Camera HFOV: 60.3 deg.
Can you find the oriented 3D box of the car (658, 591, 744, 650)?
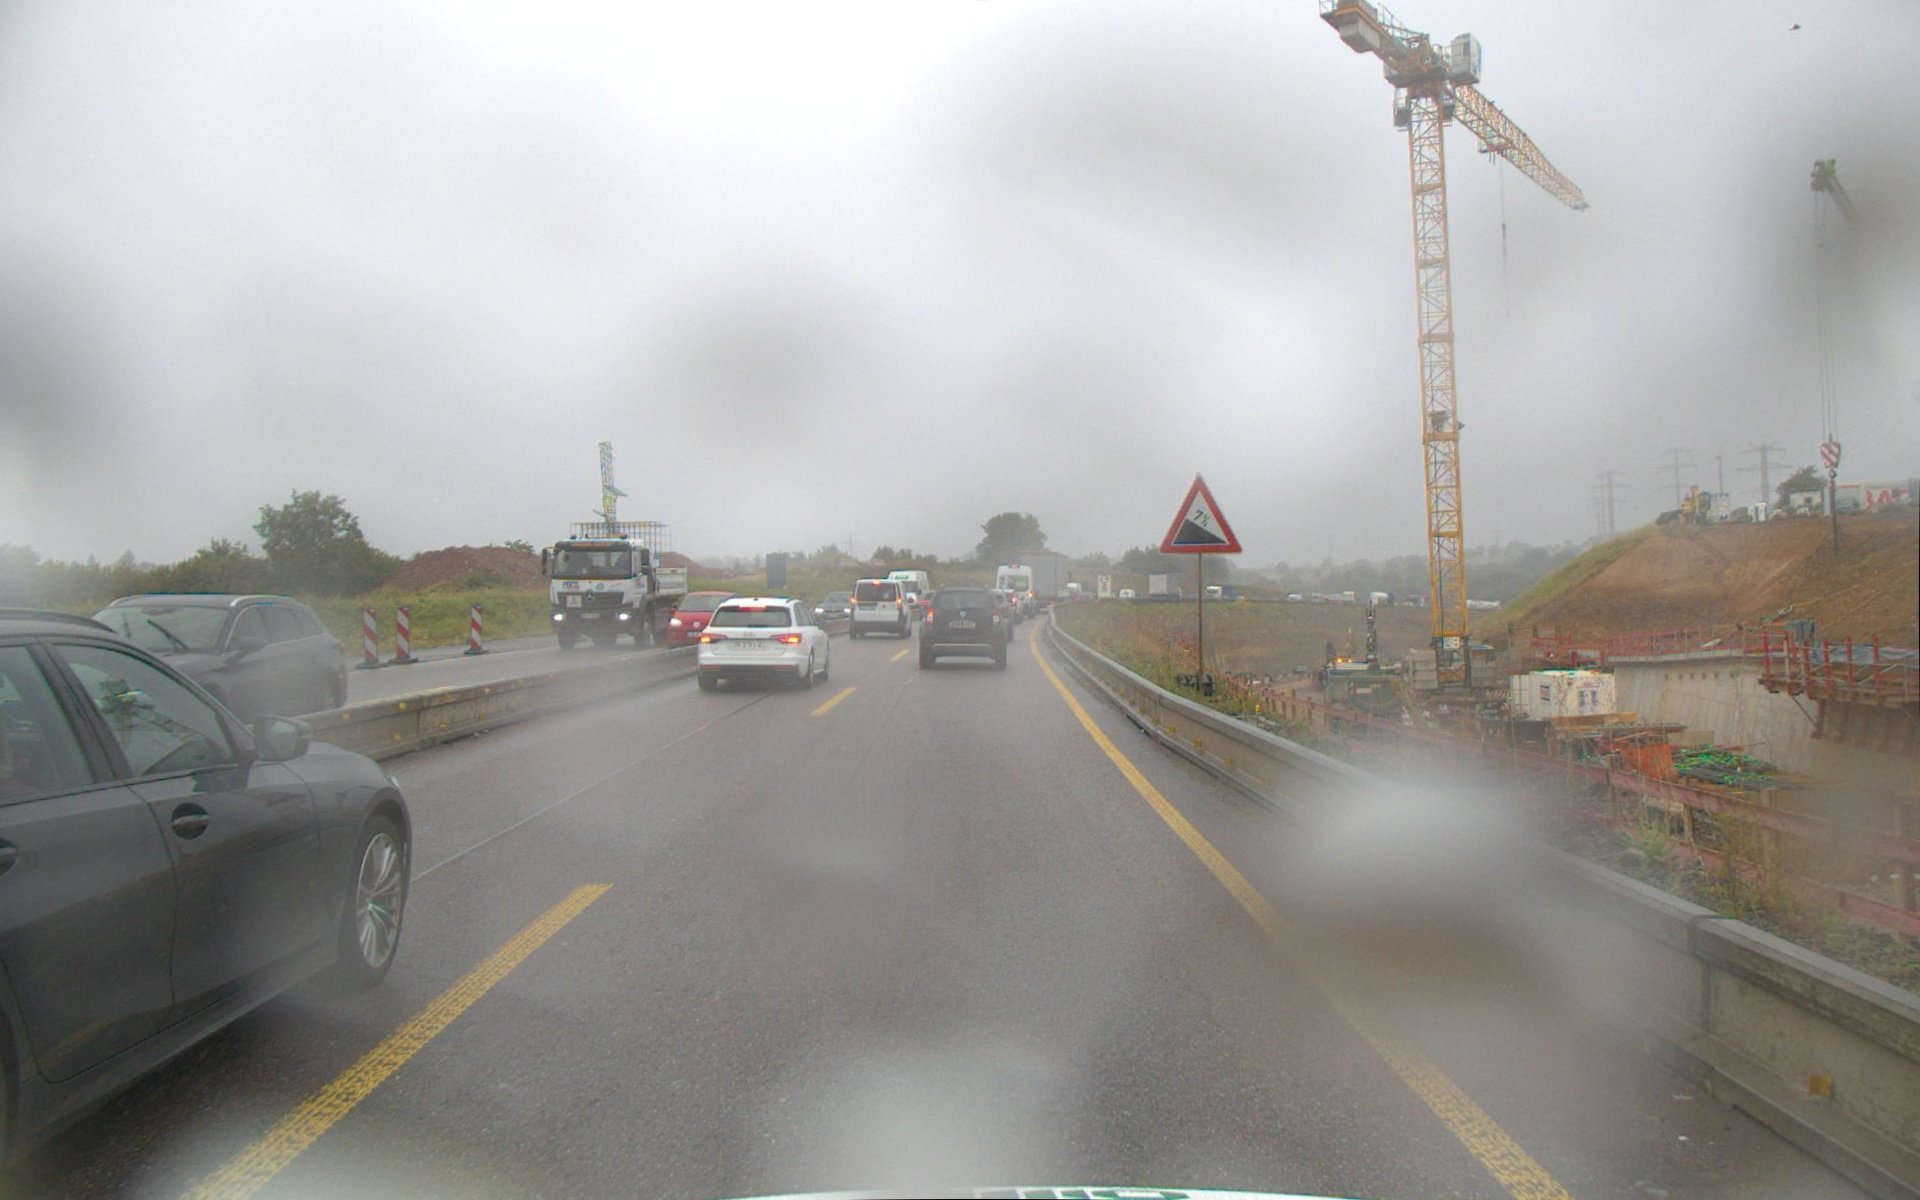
[{"bbox_3d":[-6.604,0.497,42.460,1.604,1.421,3.592,1,0,0],"label":"car"}]

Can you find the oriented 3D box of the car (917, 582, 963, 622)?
[{"bbox_3d":[-0.942,0.118,80.403,1.788,1.847,4.002,1,0,5],"label":"car"}]

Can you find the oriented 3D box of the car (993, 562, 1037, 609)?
[{"bbox_3d":[2.977,-0.756,89.130,1.787,2.480,4.161,1,0,9],"label":"car"}]

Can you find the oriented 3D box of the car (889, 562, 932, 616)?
[{"bbox_3d":[-2.923,-0.679,99.221,1.952,3.098,7.174,1,0,3],"label":"car"}]

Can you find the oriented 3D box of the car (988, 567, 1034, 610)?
[{"bbox_3d":[2.352,-0.493,74.949,1.788,1.847,4.002,1,0,6],"label":"car"}]

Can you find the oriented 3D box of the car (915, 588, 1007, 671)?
[{"bbox_3d":[0.054,0.595,34.769,1.788,1.619,4.000,1,0,1],"label":"car"}]

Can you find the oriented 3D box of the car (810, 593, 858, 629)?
[{"bbox_3d":[-5.504,0.465,72.640,1.711,1.521,4.750,0,0,1],"label":"car"}]

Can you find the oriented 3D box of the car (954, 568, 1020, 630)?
[{"bbox_3d":[0.899,-0.014,51.859,1.788,1.847,4.002,1,0,5],"label":"car"}]

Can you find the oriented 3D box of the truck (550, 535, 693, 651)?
[{"bbox_3d":[-9.259,-0.196,45.898,2.309,2.945,6.551,-1,0,3],"label":"truck"}]

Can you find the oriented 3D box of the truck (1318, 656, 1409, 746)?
[{"bbox_3d":[18.325,4.495,75.628,2.642,3.565,8.953,1,0,5],"label":"truck"}]

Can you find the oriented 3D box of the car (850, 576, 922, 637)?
[{"bbox_3d":[-2.340,0.221,53.239,1.788,1.847,4.002,1,0,5],"label":"car"}]

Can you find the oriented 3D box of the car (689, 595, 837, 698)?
[{"bbox_3d":[-3.119,0.716,26.956,1.788,1.525,4.001,1,0,2],"label":"car"}]

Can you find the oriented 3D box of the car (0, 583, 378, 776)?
[{"bbox_3d":[-6.977,0.617,14.946,1.788,1.468,4.697,0,0,0],"label":"car"}]

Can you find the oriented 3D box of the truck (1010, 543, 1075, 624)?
[{"bbox_3d":[5.695,-1.017,112.083,3.468,5.166,10.449,1,0,8],"label":"truck"}]

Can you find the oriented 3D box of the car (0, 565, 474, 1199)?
[{"bbox_3d":[-2.911,0.690,4.392,1.699,1.488,5.628,0,2,-1],"label":"car"}]

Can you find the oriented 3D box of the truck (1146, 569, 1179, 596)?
[{"bbox_3d":[28.606,-2.451,233.269,3.398,3.780,8.423,0,1,16],"label":"truck"}]

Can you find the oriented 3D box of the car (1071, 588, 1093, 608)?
[{"bbox_3d":[13.602,-0.183,184.774,1.991,2.150,4.161,1,0,11],"label":"car"}]
